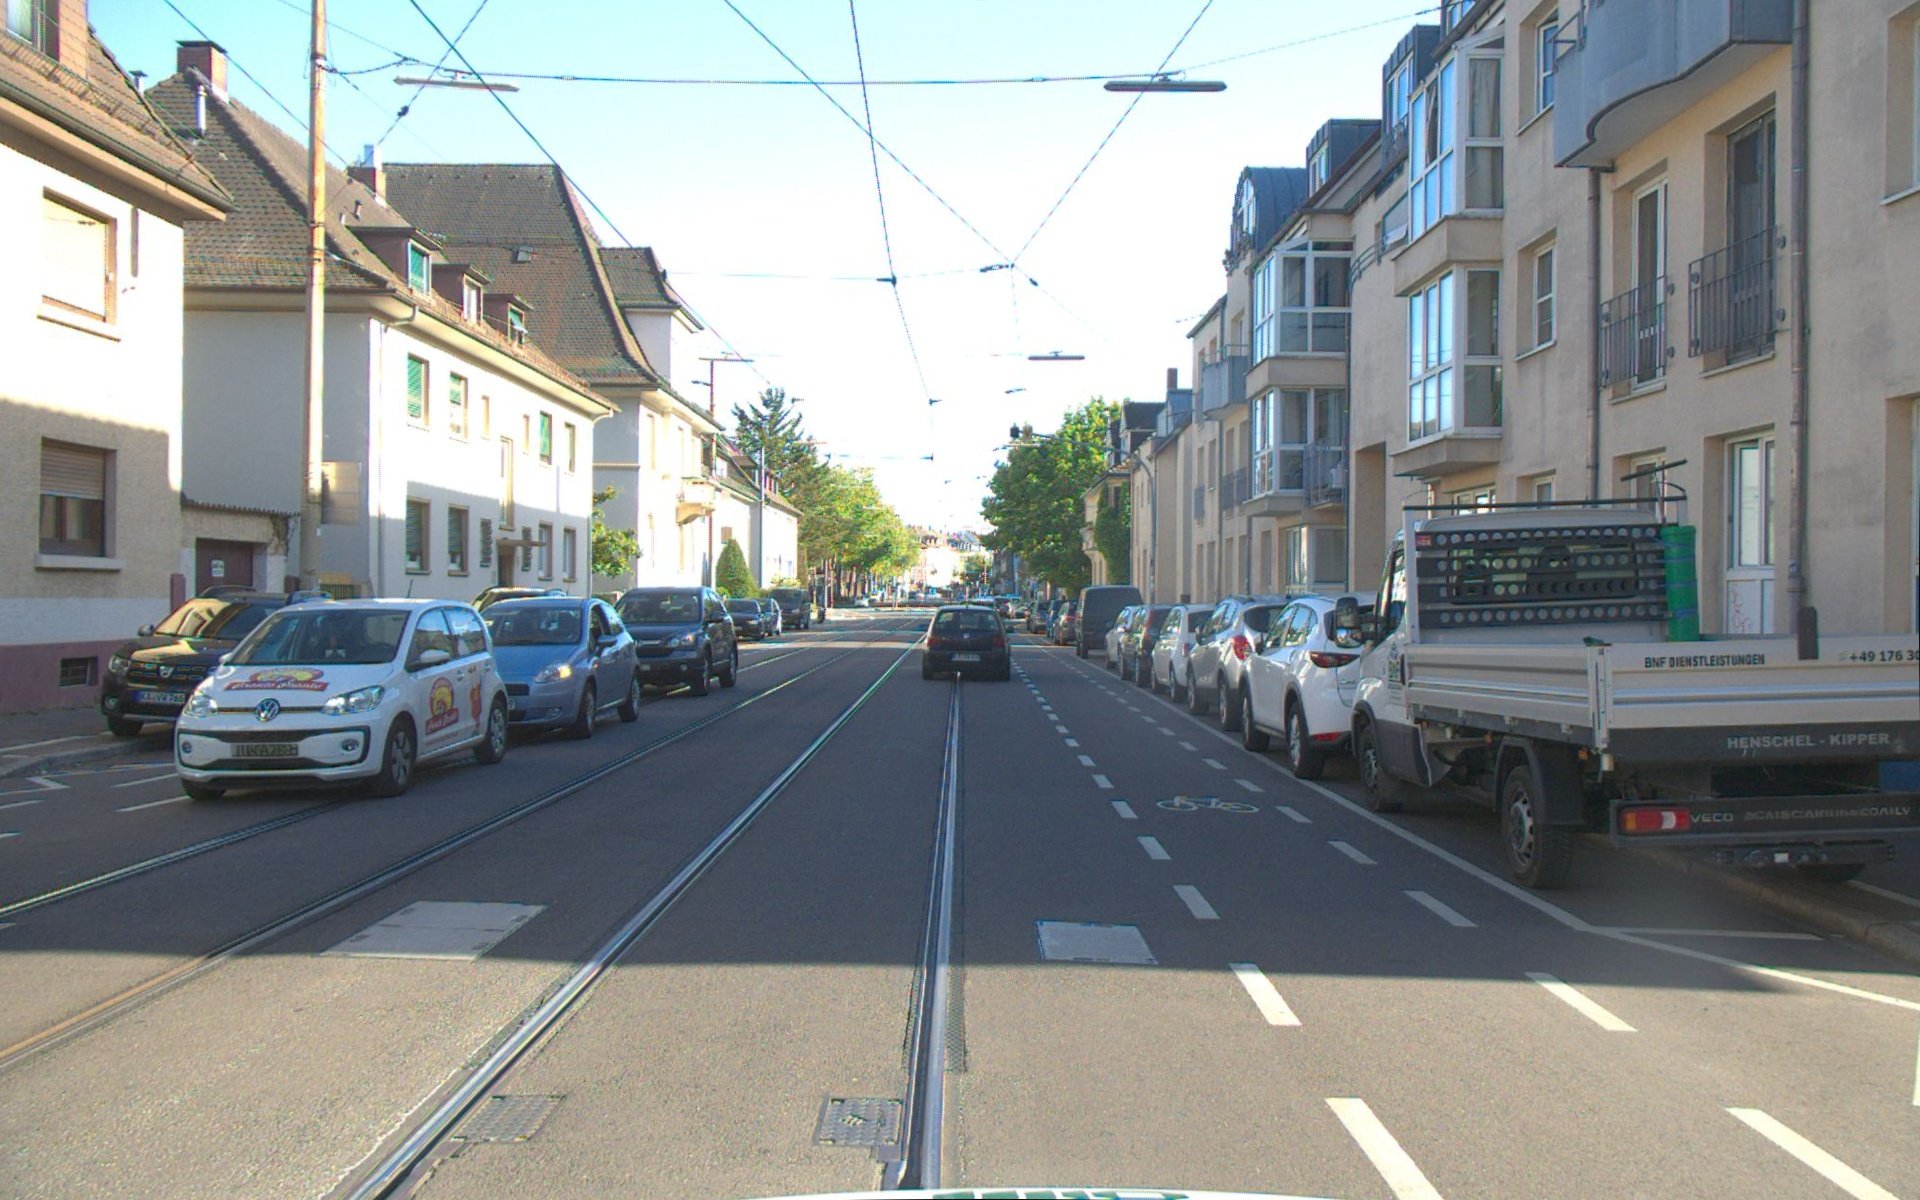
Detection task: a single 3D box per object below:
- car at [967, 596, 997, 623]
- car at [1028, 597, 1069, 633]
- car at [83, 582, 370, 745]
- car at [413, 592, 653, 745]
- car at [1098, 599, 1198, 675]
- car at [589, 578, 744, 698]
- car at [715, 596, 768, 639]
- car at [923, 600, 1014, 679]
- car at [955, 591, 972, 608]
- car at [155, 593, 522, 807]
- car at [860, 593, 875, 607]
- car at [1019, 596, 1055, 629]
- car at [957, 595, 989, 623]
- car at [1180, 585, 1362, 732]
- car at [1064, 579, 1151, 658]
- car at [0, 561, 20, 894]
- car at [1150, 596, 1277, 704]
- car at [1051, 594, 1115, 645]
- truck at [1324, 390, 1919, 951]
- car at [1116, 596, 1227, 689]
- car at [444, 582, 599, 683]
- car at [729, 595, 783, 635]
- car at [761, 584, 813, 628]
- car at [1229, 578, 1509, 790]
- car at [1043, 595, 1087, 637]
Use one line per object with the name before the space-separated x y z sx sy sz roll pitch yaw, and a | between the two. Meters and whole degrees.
car | 1.246 0.530 94.735 1.704 1.466 3.809 1 0 0
car | 4.044 0.686 75.938 1.569 1.552 3.548 2 0 -2
car | -8.271 0.655 19.037 1.582 1.656 3.921 -1 0 -1
car | -4.615 0.678 18.435 1.584 1.486 4.075 -1 0 0
car | 4.126 0.777 36.789 1.643 1.517 4.172 2 0 -1
car | -4.562 0.556 26.301 1.669 1.734 4.364 0 0 0
car | -8.001 0.608 60.717 1.630 1.503 4.247 0 0 -4
car | 0.165 0.726 32.497 1.681 1.427 4.006 0 0 0
car | 0.384 -0.067 190.316 1.751 1.892 3.999 3 0 -2
car | -4.862 0.707 13.470 1.549 1.486 3.614 -1 0 1
car | -10.197 0.014 182.075 1.545 1.503 3.436 0 0 -6
car | 3.917 0.616 84.349 1.631 1.591 3.770 2 0 0
car | 0.681 0.452 85.696 1.601 1.396 3.757 0 0 1
car | 4.034 0.701 22.011 1.570 1.729 3.989 2 0 -1
car | 4.023 0.471 45.820 1.867 2.022 4.562 2 0 -1
car | -5.732 0.642 5.985 1.701 1.639 4.717 -1 0 4
car | 4.055 0.760 26.901 1.466 1.584 3.364 2 0 -1
car | 4.236 0.656 57.664 1.709 1.627 4.432 2 0 -2
truck | 4.106 0.304 10.535 2.248 2.520 6.146 0 0 0
car | 3.919 0.751 31.055 1.522 1.584 3.652 2 0 -1
car | -8.106 0.565 30.992 1.726 1.734 4.554 -1 0 -1
car | -8.283 0.583 67.401 1.642 1.503 3.835 2 0 0
car | -8.459 0.288 81.382 1.866 2.049 4.950 2 0 1
car | 3.910 0.724 16.528 1.703 1.777 4.255 2 0 0
car | 4.260 0.622 67.348 1.428 1.627 3.293 2 0 -2
